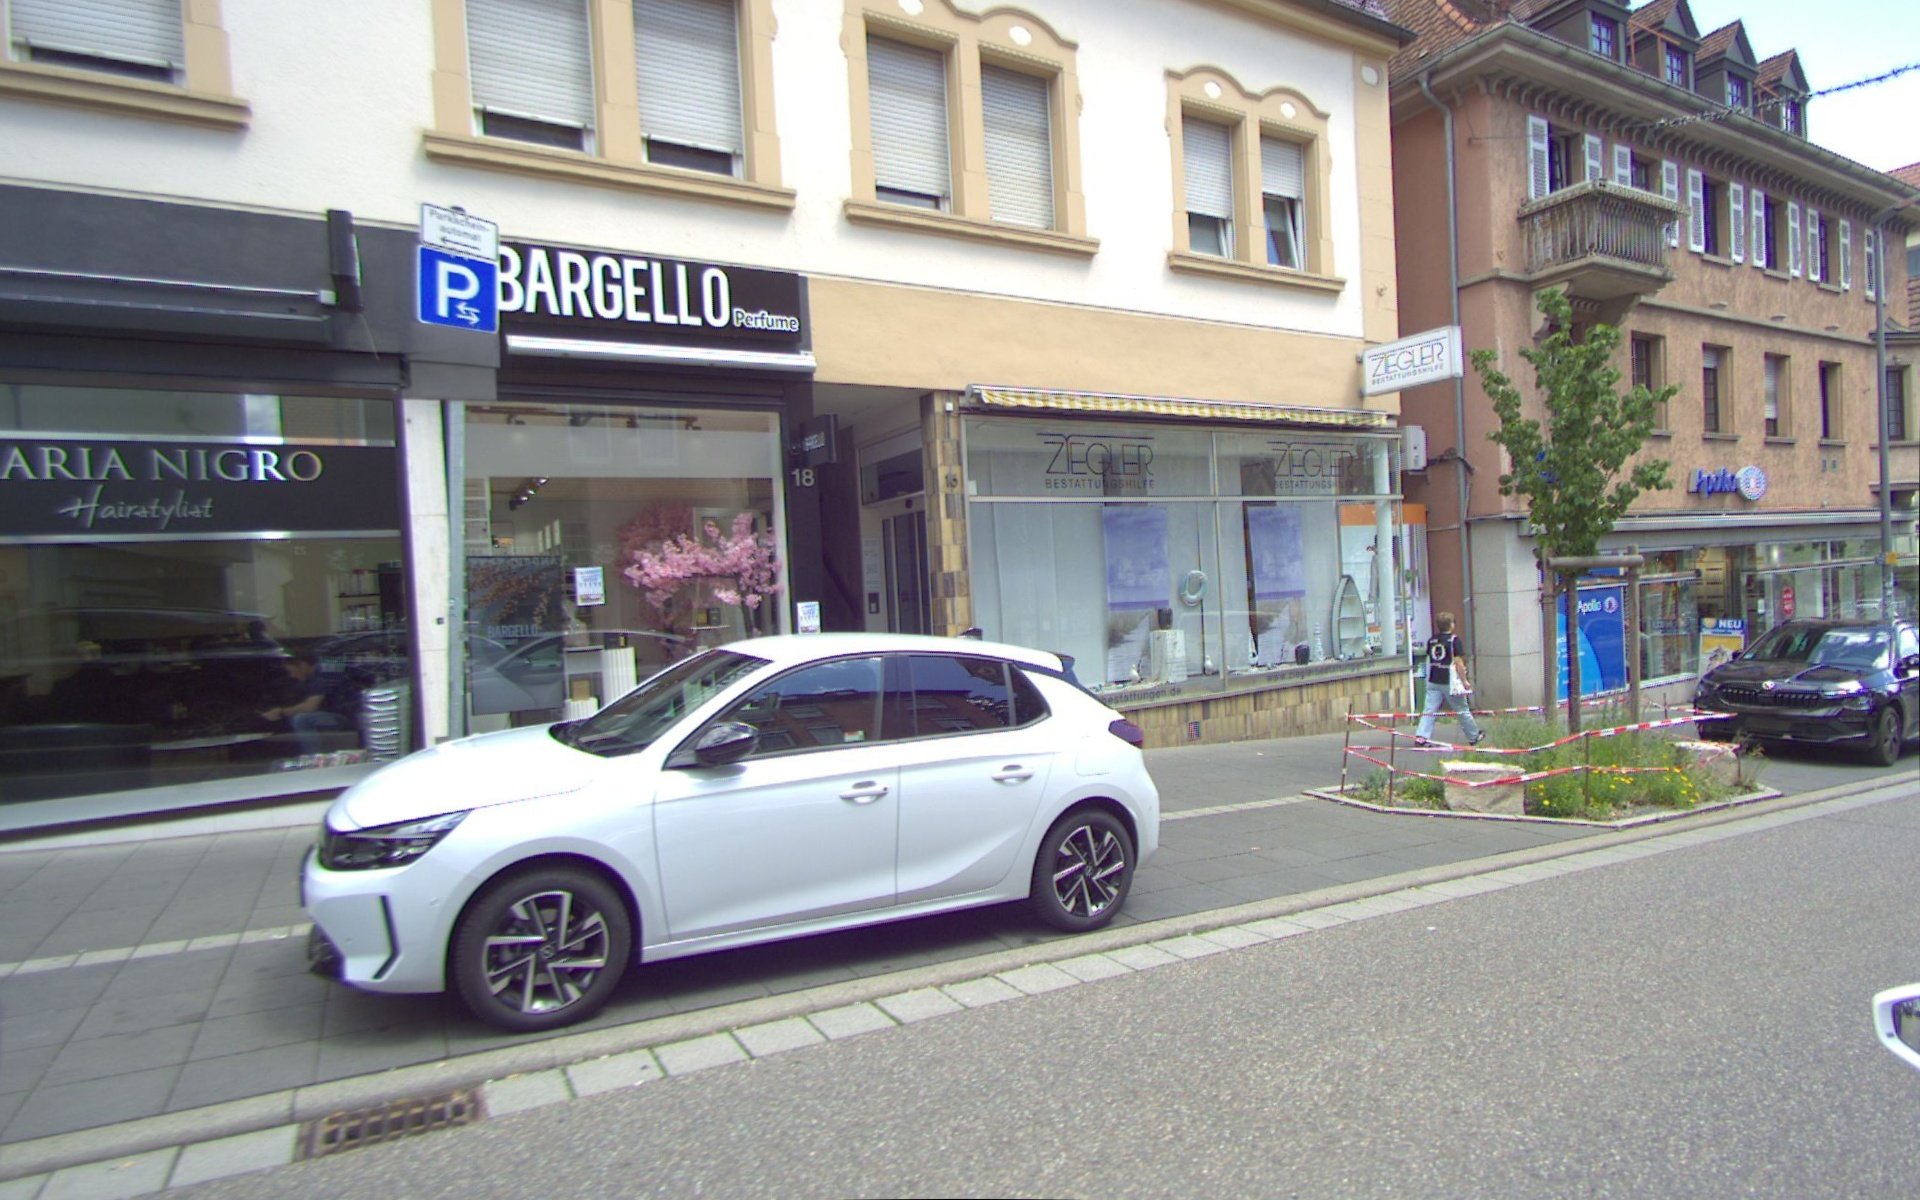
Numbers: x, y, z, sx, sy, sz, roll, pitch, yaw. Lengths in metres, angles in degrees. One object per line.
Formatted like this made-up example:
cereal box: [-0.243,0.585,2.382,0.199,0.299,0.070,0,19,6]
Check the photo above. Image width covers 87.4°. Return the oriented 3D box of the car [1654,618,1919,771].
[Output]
car: [10.475,1.005,12.212,4.216,1.516,1.915,0,-1,-33]

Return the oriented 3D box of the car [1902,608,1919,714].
car: [16.895,0.942,15.887,4.410,1.617,1.915,0,2,-33]

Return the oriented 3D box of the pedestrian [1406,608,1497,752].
pedestrian: [5.682,0.895,11.620,0.853,1.596,0.545,0,-1,-31]

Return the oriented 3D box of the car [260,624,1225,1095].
car: [-0.887,0.884,5.129,4.210,1.449,1.918,0,0,-29]

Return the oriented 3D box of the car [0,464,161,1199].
car: [-3.470,0.647,0.599,4.395,1.740,1.983,1,-2,-30]

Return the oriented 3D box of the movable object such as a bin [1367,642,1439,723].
movable object such as a bin: [6.275,1.153,14.240,0.541,1.099,0.737,0,-3,-31]
